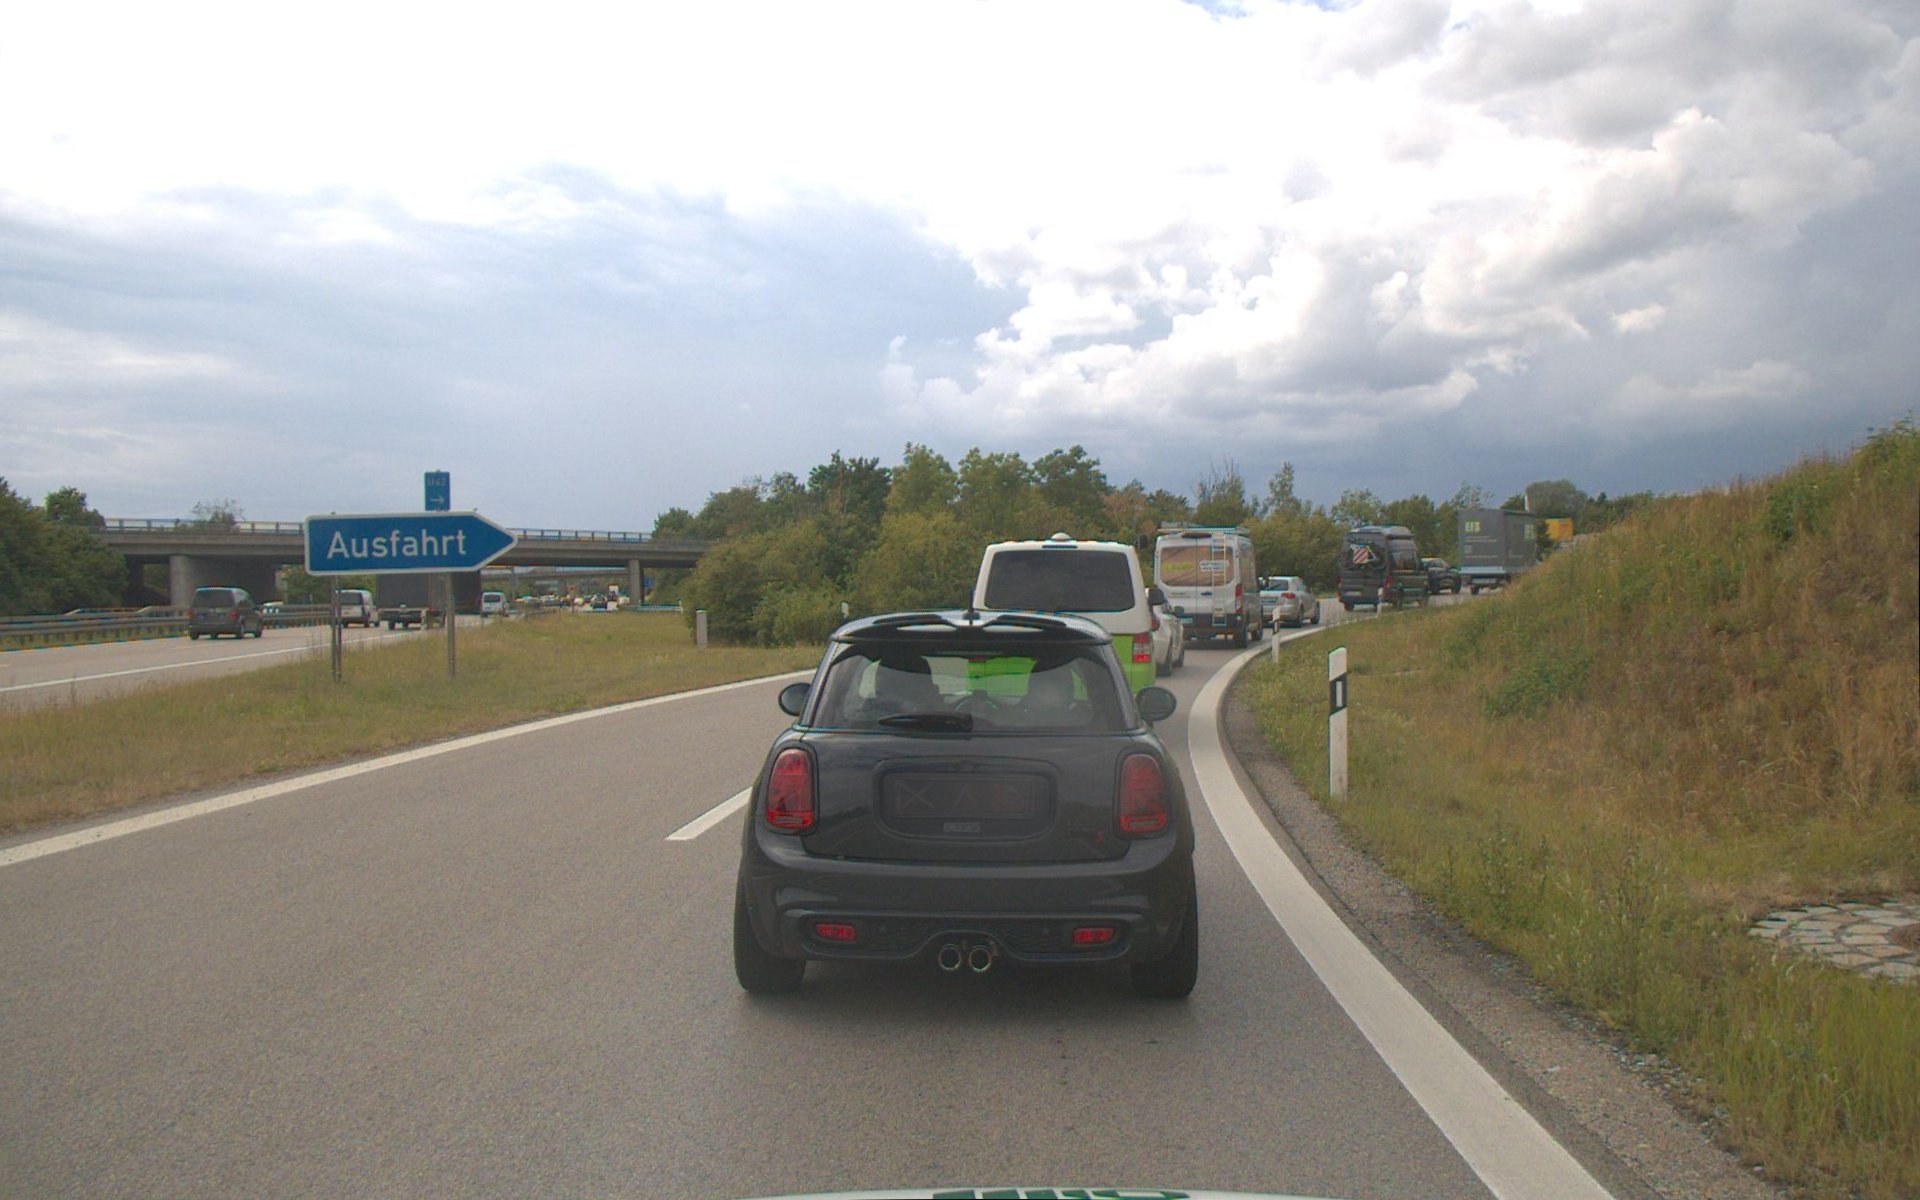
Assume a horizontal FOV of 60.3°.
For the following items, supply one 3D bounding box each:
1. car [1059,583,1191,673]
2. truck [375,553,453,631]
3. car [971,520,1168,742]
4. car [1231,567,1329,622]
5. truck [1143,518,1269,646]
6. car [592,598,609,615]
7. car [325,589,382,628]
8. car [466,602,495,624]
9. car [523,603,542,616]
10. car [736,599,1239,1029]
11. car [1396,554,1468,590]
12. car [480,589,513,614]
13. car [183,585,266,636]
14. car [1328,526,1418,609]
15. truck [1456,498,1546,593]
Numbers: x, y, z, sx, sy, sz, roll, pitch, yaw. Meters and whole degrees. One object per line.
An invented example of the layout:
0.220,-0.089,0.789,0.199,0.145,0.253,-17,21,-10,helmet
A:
2.853,0.438,27.921,1.724,1.423,3.728,-1,0,14,car
-25.604,-0.338,77.862,2.423,3.430,7.902,-1,0,-11,truck
1.263,0.273,17.394,1.746,2.049,4.003,0,0,8,car
9.357,-0.151,48.201,1.830,1.536,3.996,0,0,26,car
5.701,-0.431,37.740,2.132,2.705,5.112,0,1,17,truck
-43.704,0.771,201.274,1.959,2.049,3.988,1,-1,-12,car
-30.306,0.419,82.709,1.957,1.842,3.990,-1,0,-10,car
-42.483,1.138,146.639,1.957,1.817,5.399,-1,0,-10,car
-49.312,1.106,190.870,1.691,1.449,4.785,-1,0,-10,car
0.064,0.724,7.444,1.692,1.438,3.724,0,0,-1,car
21.761,-1.254,76.143,1.802,1.593,4.482,0,0,35,car
-33.919,0.118,121.132,1.842,1.782,4.476,-1,0,-10,car
-26.783,0.373,60.354,1.812,1.789,4.324,-1,0,-11,car
14.724,-1.138,58.852,2.066,2.845,3.992,1,0,30,car
24.336,-2.370,74.249,2.191,3.975,5.994,0,-1,35,truck
